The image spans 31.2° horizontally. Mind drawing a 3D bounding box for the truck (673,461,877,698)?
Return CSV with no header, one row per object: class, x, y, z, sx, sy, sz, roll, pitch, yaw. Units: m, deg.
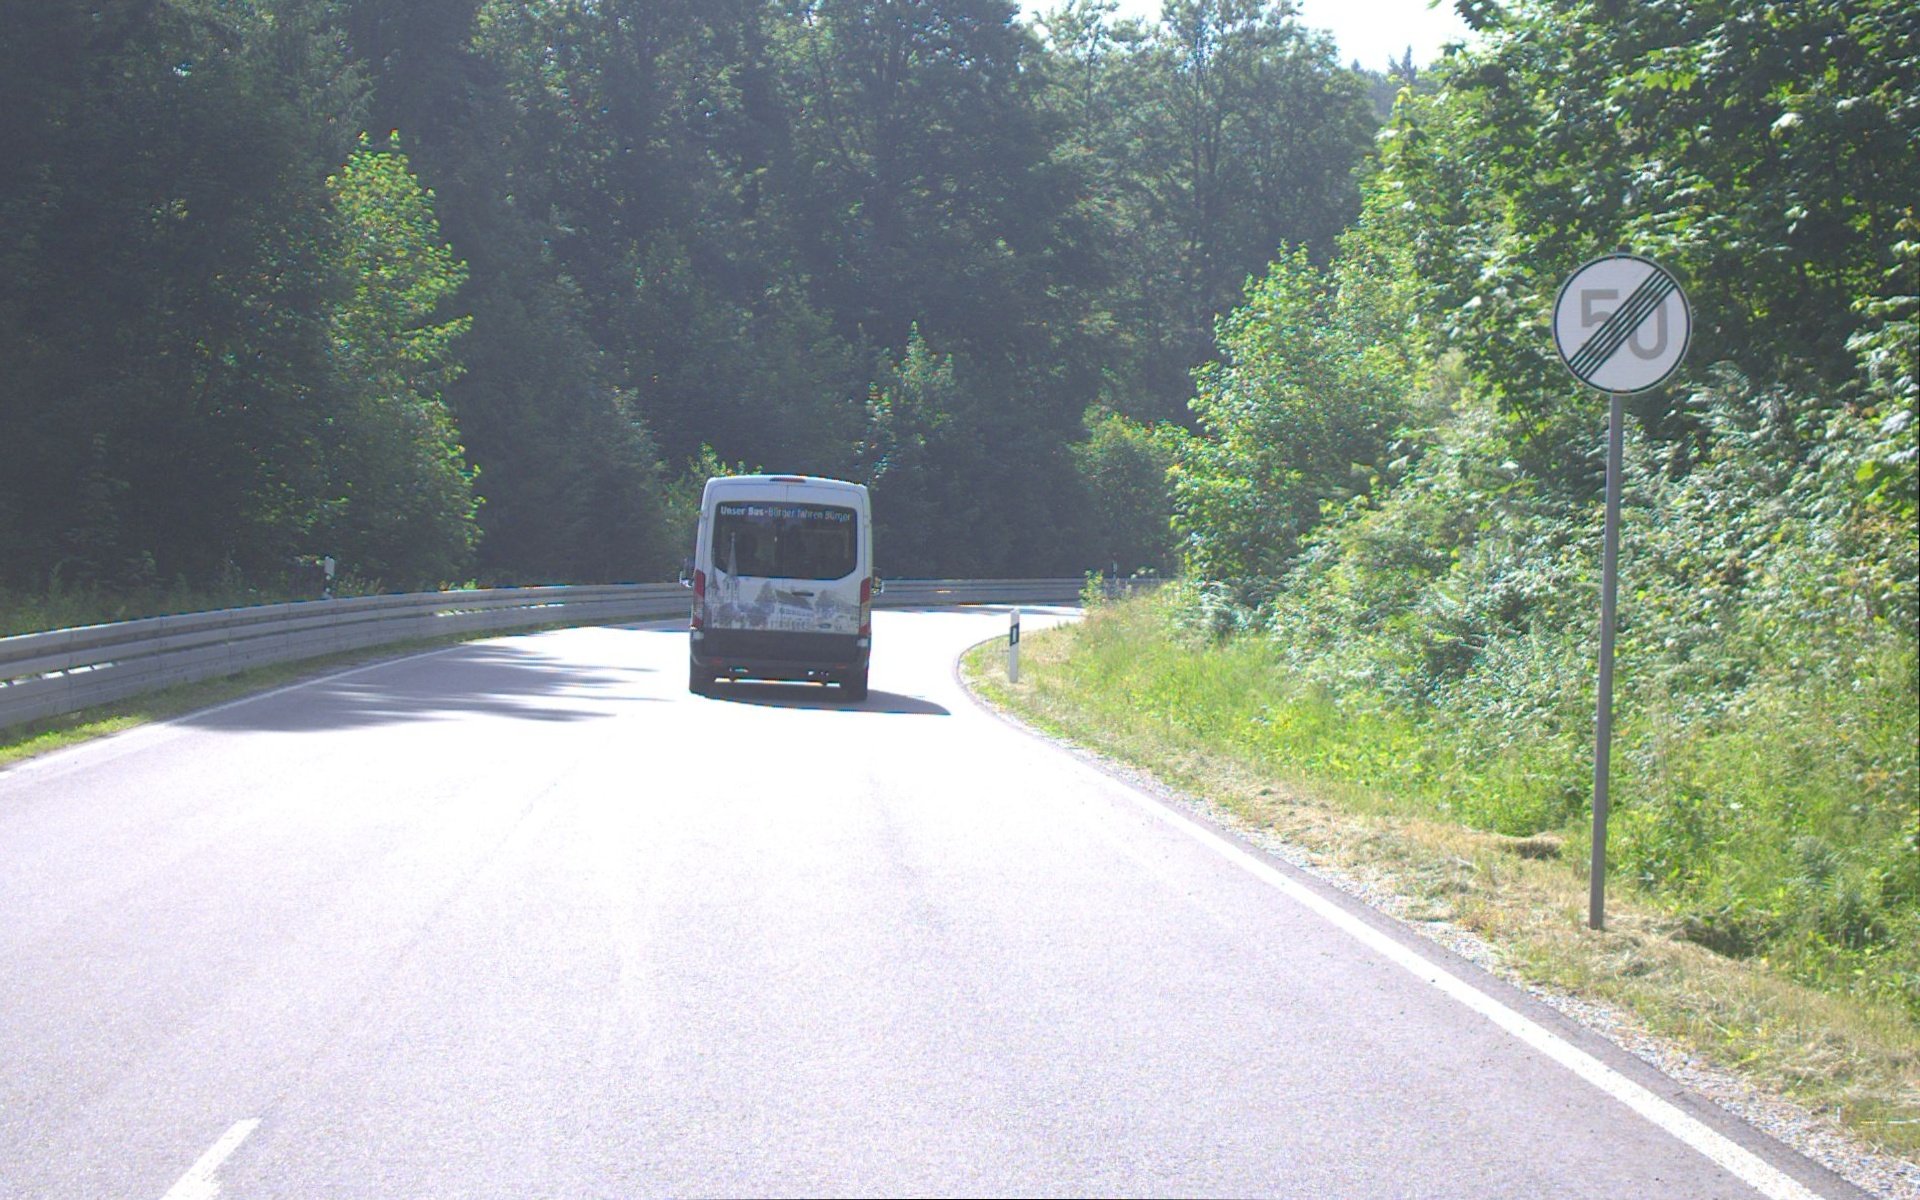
truck,-2.197,-0.263,39.952,2.115,2.489,5.360,2,1,-4
